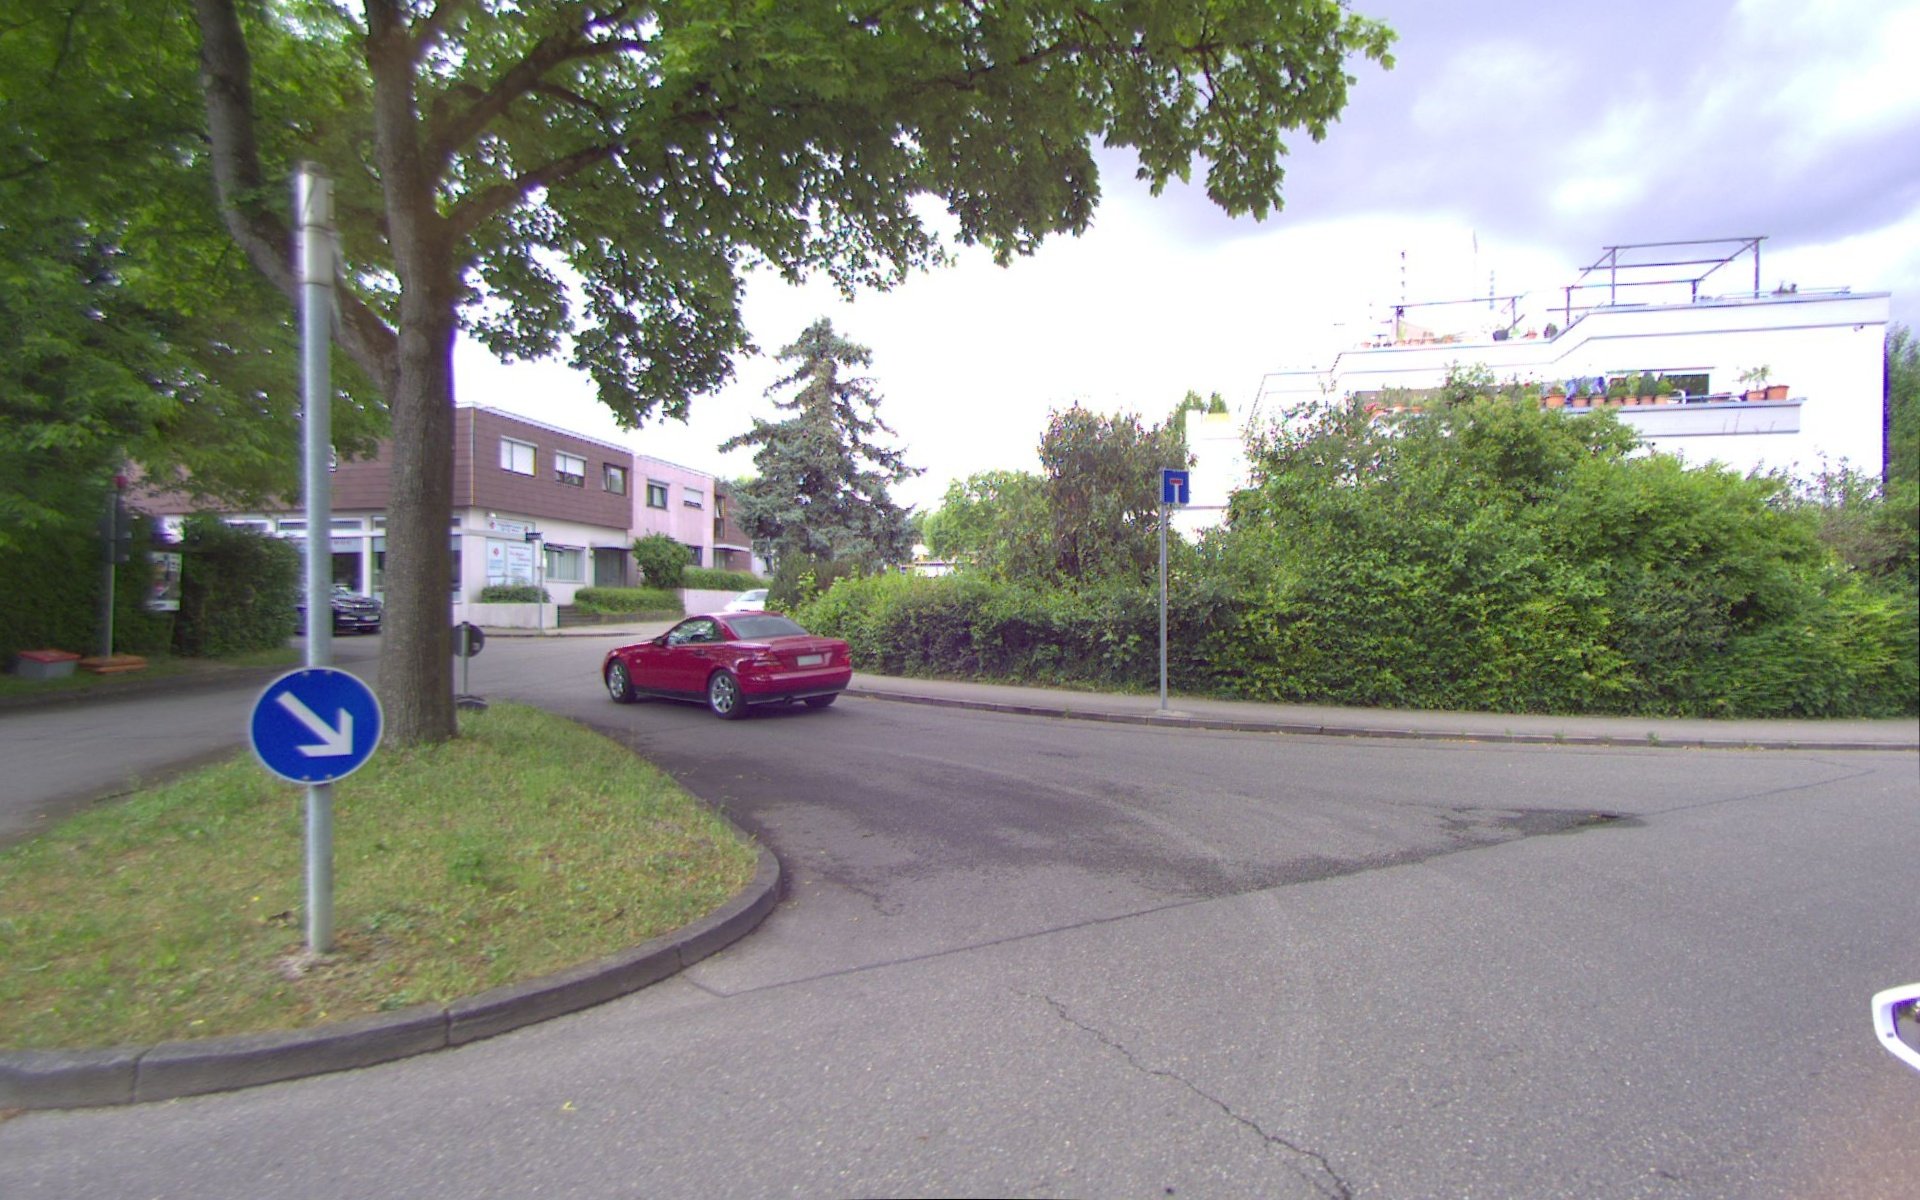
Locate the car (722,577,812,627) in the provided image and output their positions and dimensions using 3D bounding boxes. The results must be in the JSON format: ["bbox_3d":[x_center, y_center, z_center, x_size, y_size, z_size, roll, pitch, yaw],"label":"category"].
[{"bbox_3d":[-7.350,0.112,38.647,1.724,1.739,4.002,0,-2,17],"label":"car"}]

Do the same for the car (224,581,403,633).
[{"bbox_3d":[-18.713,0.170,29.141,4.192,1.395,2.001,0,2,13],"label":"car"}]

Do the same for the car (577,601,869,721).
[{"bbox_3d":[-3.266,0.709,13.500,4.002,1.353,1.748,1,0,39],"label":"car"}]
